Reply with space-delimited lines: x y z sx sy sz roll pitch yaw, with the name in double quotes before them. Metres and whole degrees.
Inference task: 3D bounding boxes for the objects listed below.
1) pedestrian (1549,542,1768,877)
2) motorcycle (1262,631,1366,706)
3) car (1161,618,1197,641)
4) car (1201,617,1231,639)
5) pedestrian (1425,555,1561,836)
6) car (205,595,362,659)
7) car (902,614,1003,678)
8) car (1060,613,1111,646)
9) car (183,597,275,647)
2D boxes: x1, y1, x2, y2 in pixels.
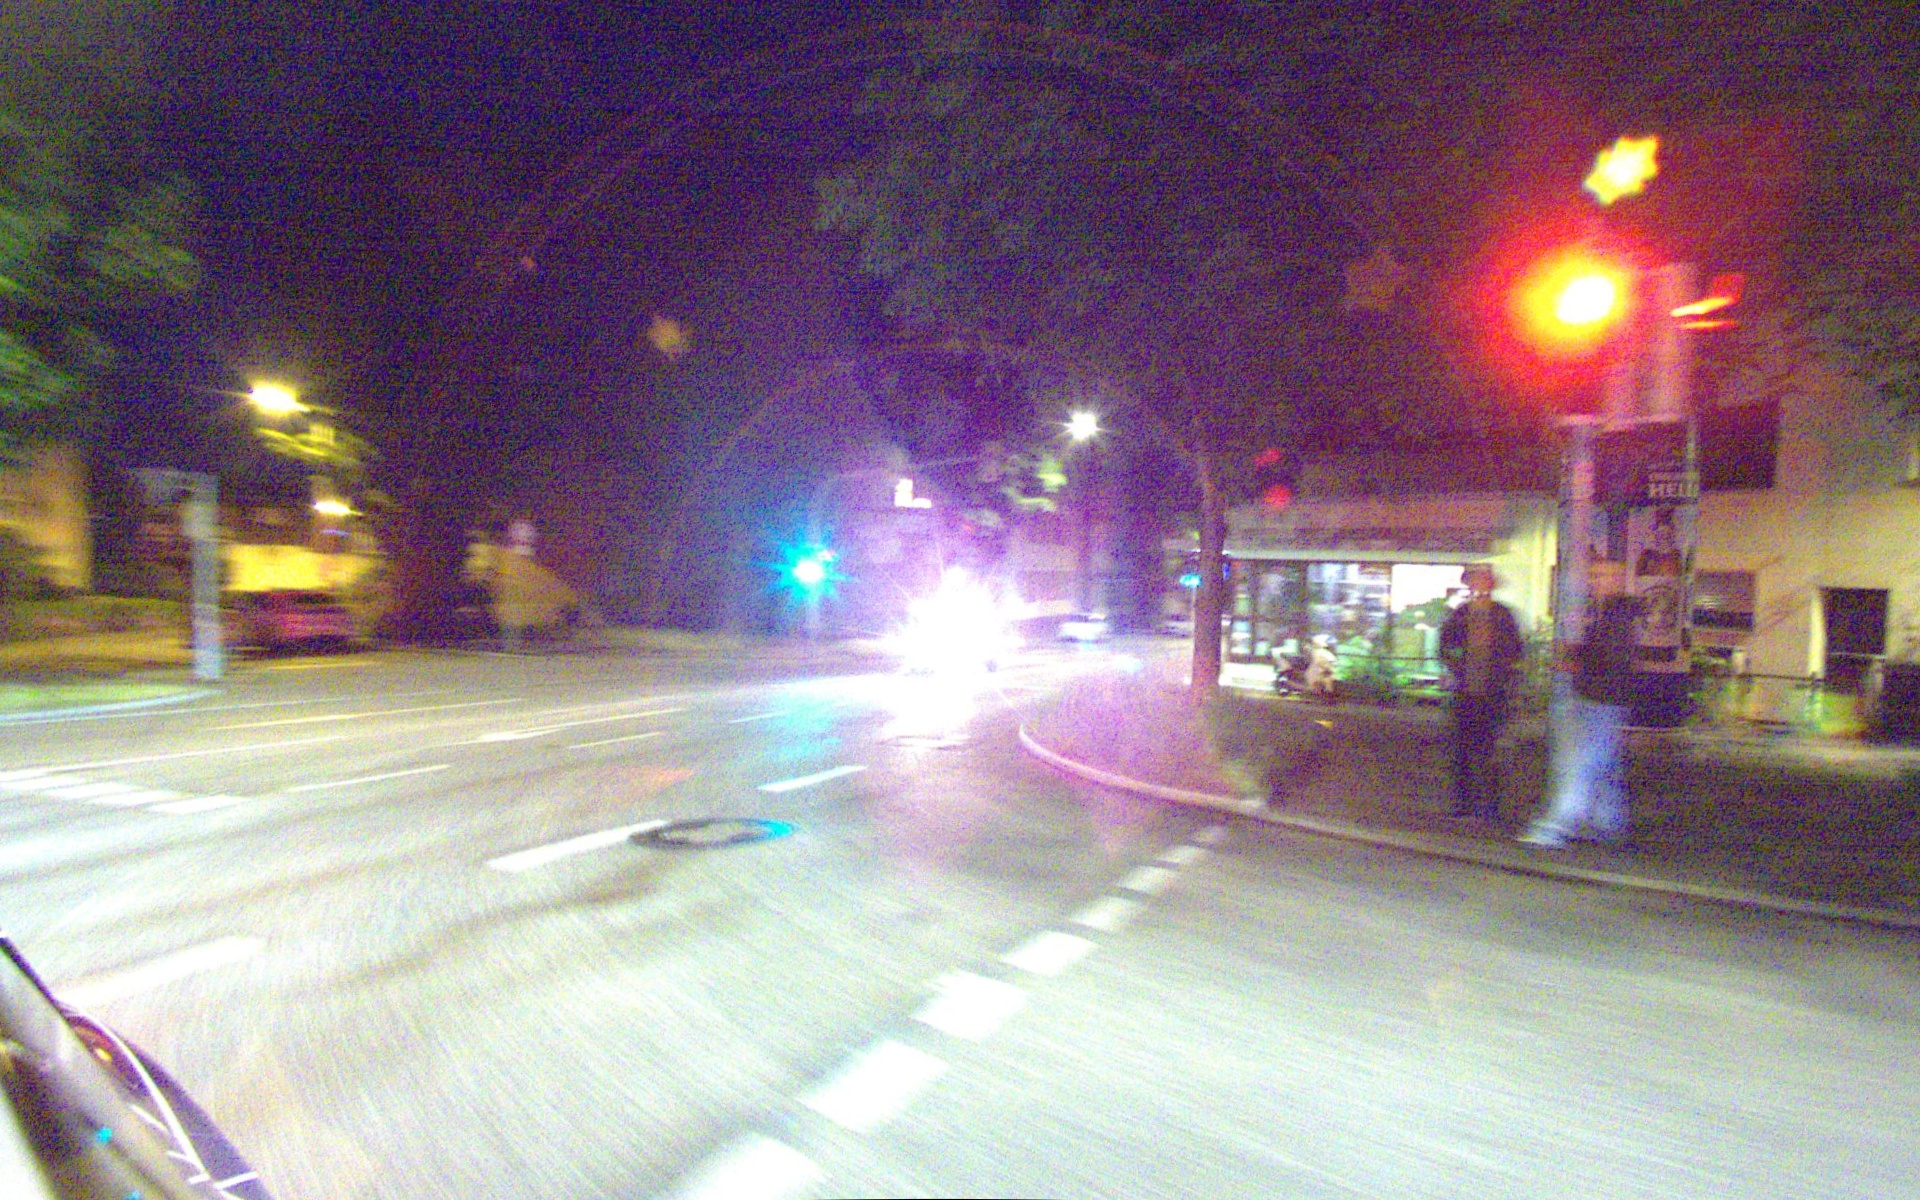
"pedestrian" 4.037 0.592 5.940 0.961 1.783 0.721 -1 -2 29
"motorcycle" 6.340 1.191 18.253 0.607 1.239 2.047 1 -1 -19
"car" 14.860 2.015 68.622 1.530 1.426 3.377 3 0 27
"car" 20.411 2.225 80.747 1.530 1.604 3.524 3 0 27
"pedestrian" 3.651 0.623 6.943 0.693 1.806 0.516 -2 -2 44
"car" -17.932 0.666 26.777 4.244 1.567 2.030 0 0 34
"car" -0.137 1.111 25.692 1.505 1.513 3.025 -1 -1 23
"car" 6.478 1.498 51.958 1.618 1.505 3.381 3 0 24
"car" -22.301 0.621 30.822 1.851 1.398 4.082 -1 1 -42
